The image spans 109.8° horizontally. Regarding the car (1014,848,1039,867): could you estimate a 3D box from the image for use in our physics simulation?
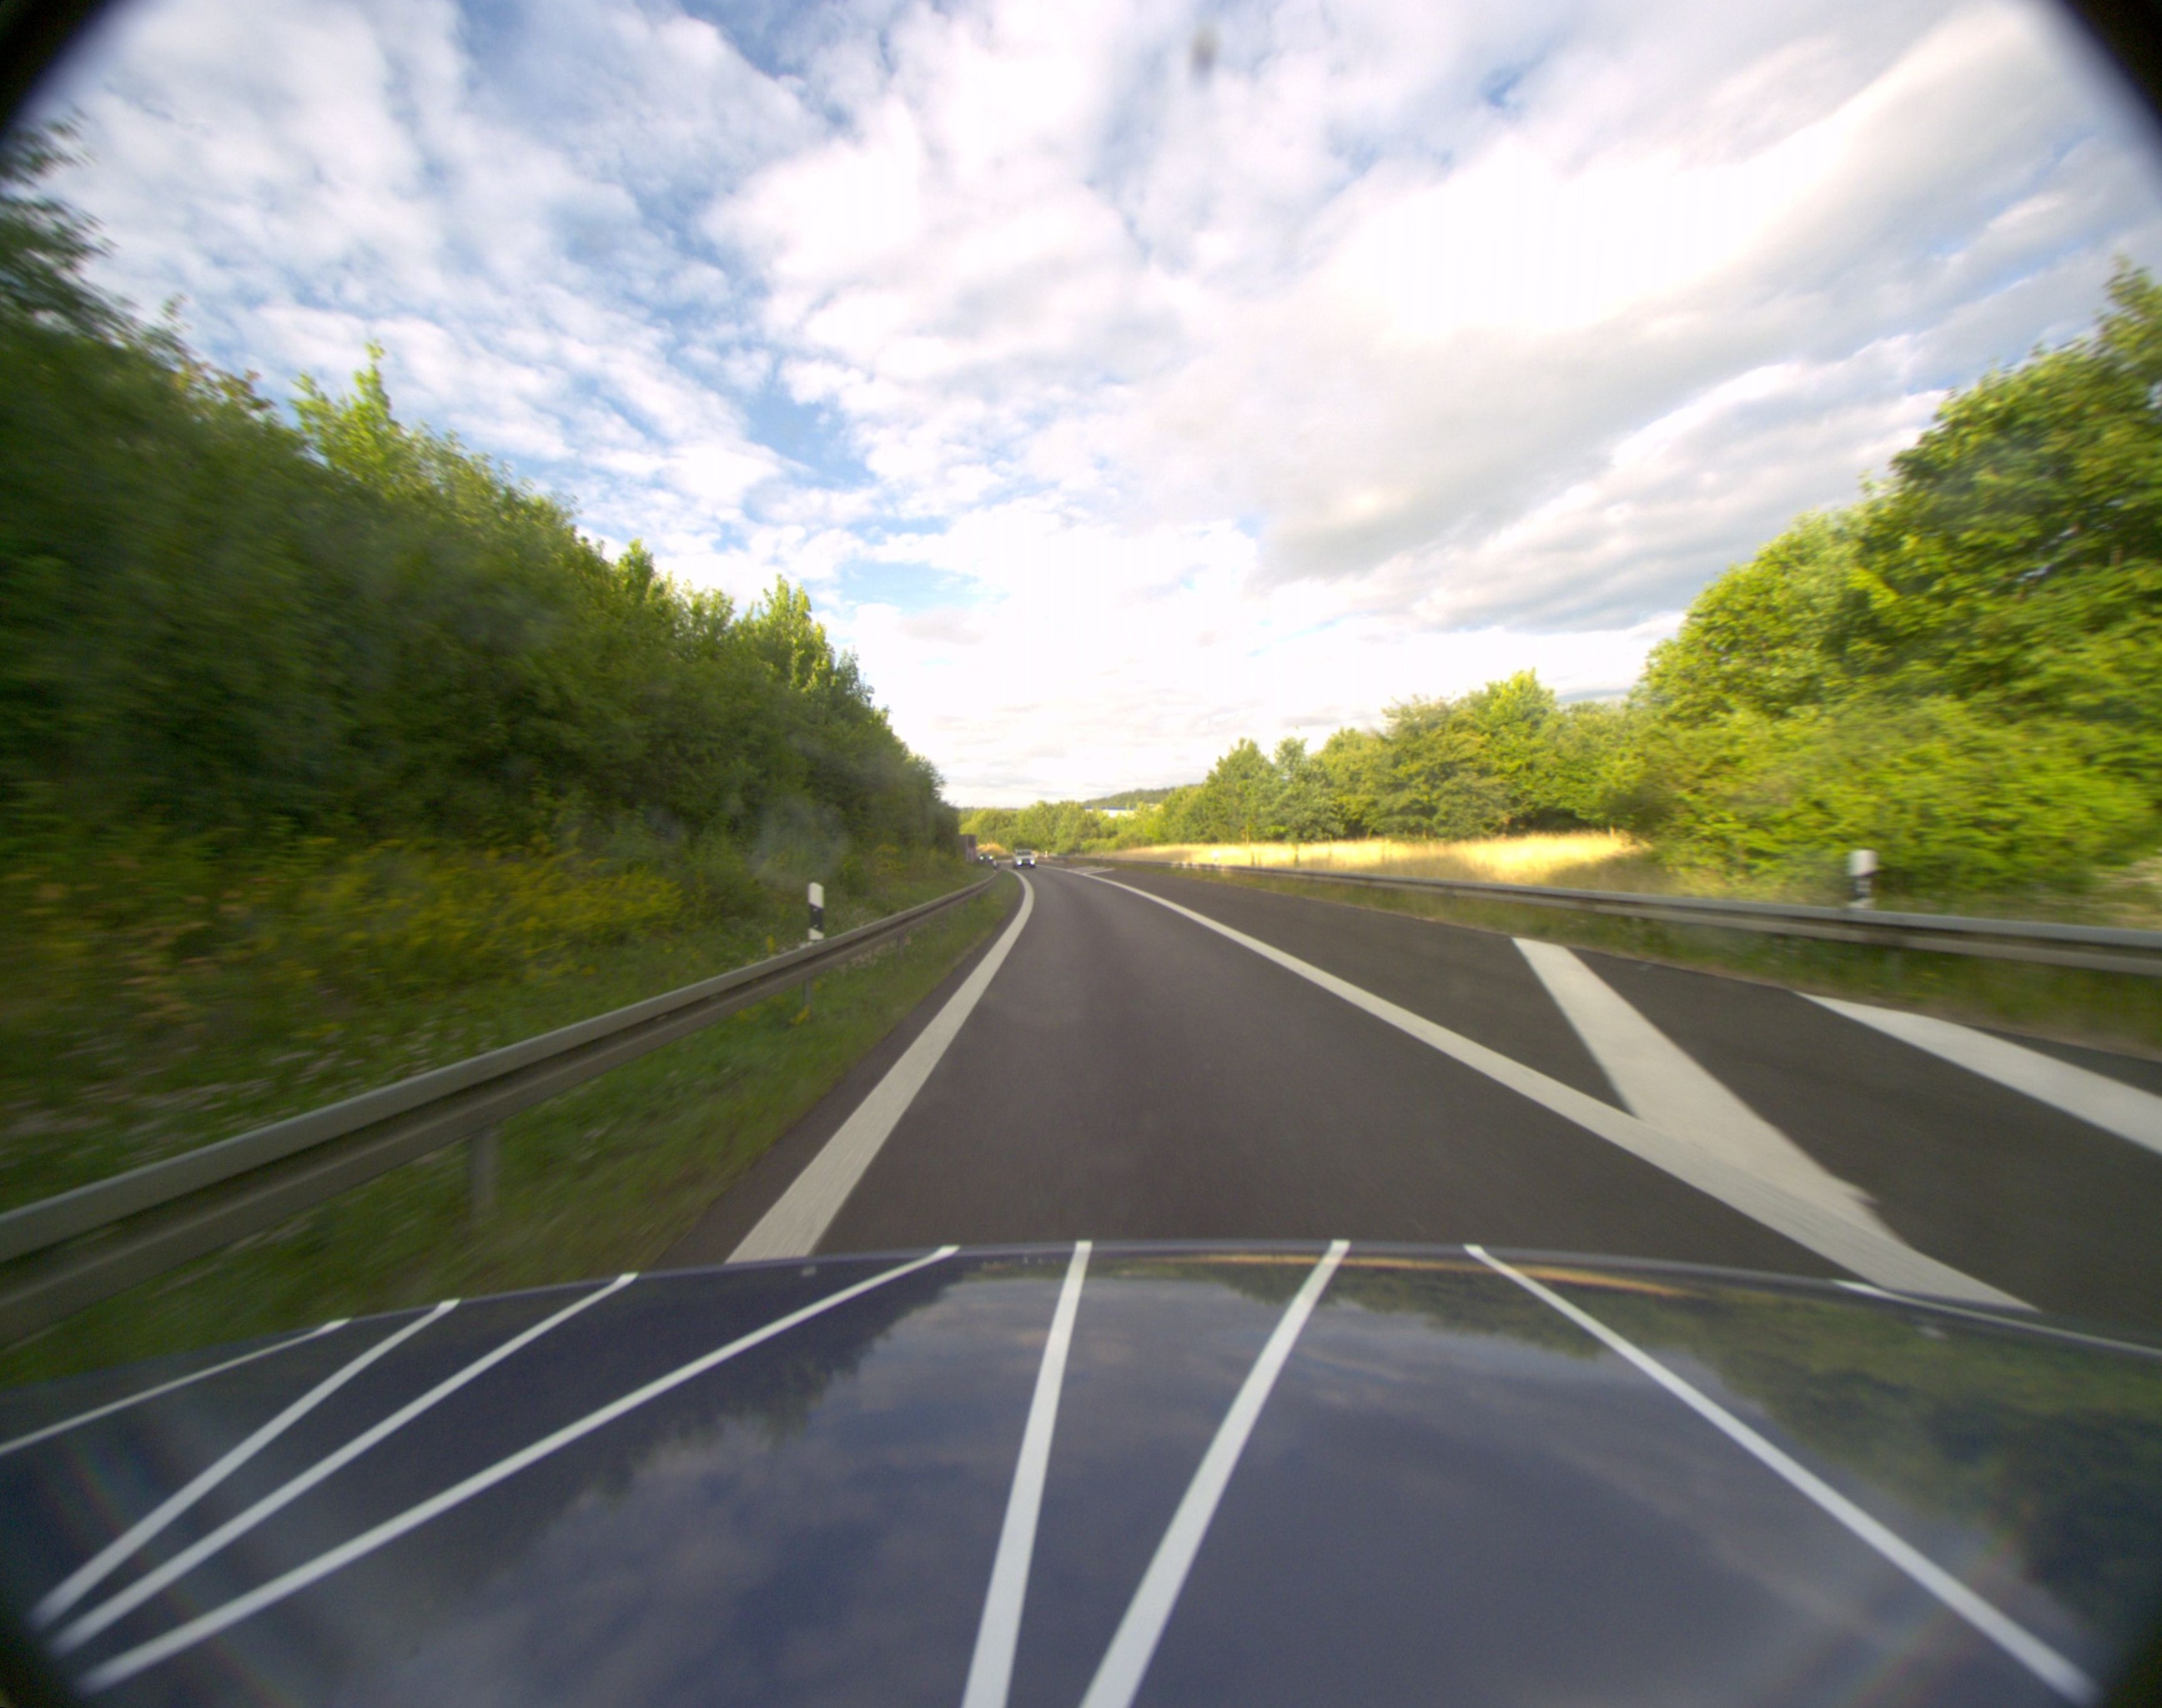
[{"bbox_3d":[-5.198,0.329,71.940,1.906,1.655,3.996,-3,1,-10],"label":"car"}]

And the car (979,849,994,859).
[{"bbox_3d":[-13.976,-0.039,112.517,1.622,1.451,3.657,-2,1,-15],"label":"car"}]
